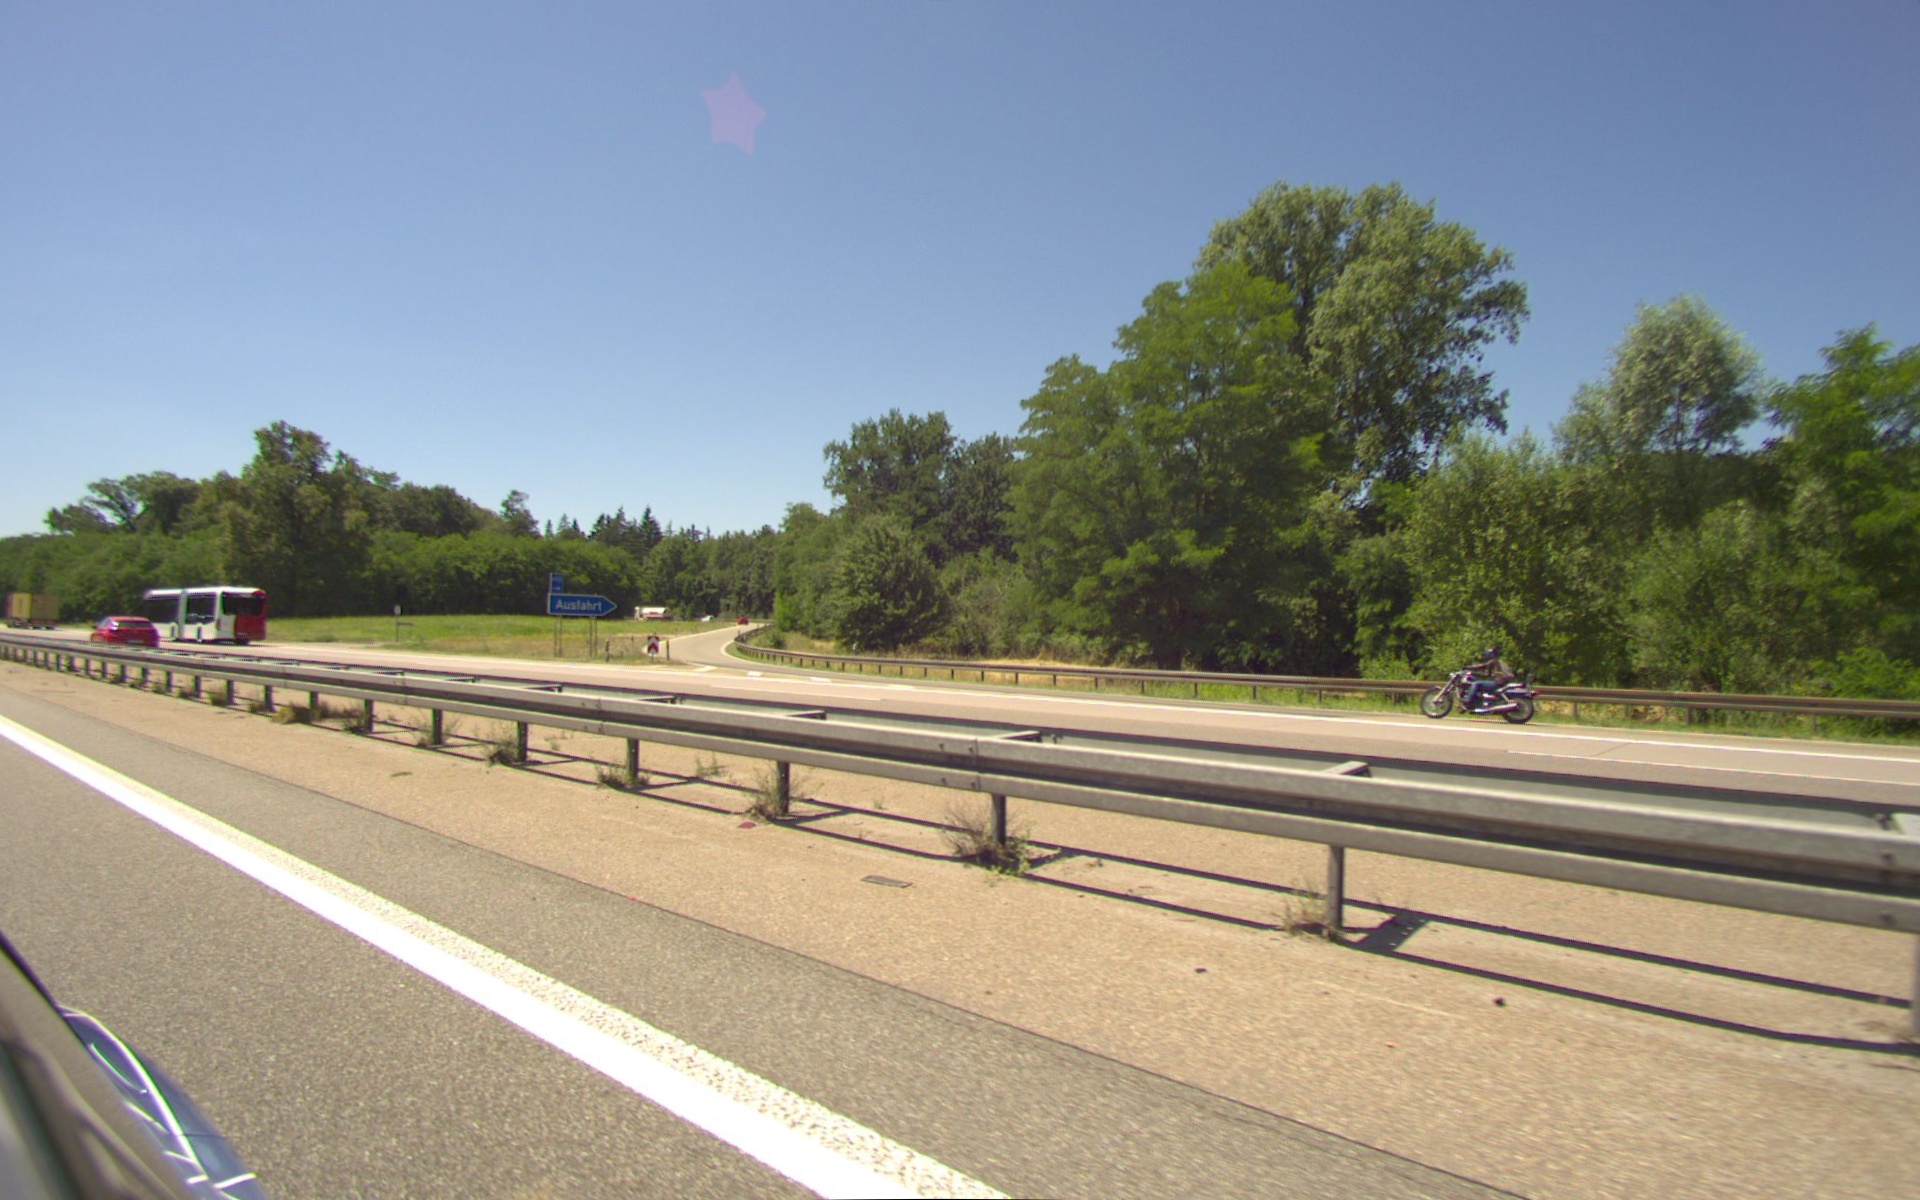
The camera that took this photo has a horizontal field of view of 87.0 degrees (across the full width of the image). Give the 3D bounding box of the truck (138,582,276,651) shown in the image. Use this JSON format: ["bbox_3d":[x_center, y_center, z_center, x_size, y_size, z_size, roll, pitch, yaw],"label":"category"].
[{"bbox_3d":[-48.234,1.078,64.390,17.533,3.905,3.052,-1,-2,40],"label":"truck"}]

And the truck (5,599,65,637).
[{"bbox_3d":[-99.978,1.874,109.294,15.614,3.905,3.051,-1,0,41],"label":"truck"}]

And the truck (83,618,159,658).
[{"bbox_3d":[-35.052,1.548,42.255,4.308,1.575,1.811,-1,-2,42],"label":"truck"}]

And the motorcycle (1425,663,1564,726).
[{"bbox_3d":[10.907,1.897,20.729,2.395,1.120,0.770,-1,-2,44],"label":"motorcycle"}]
